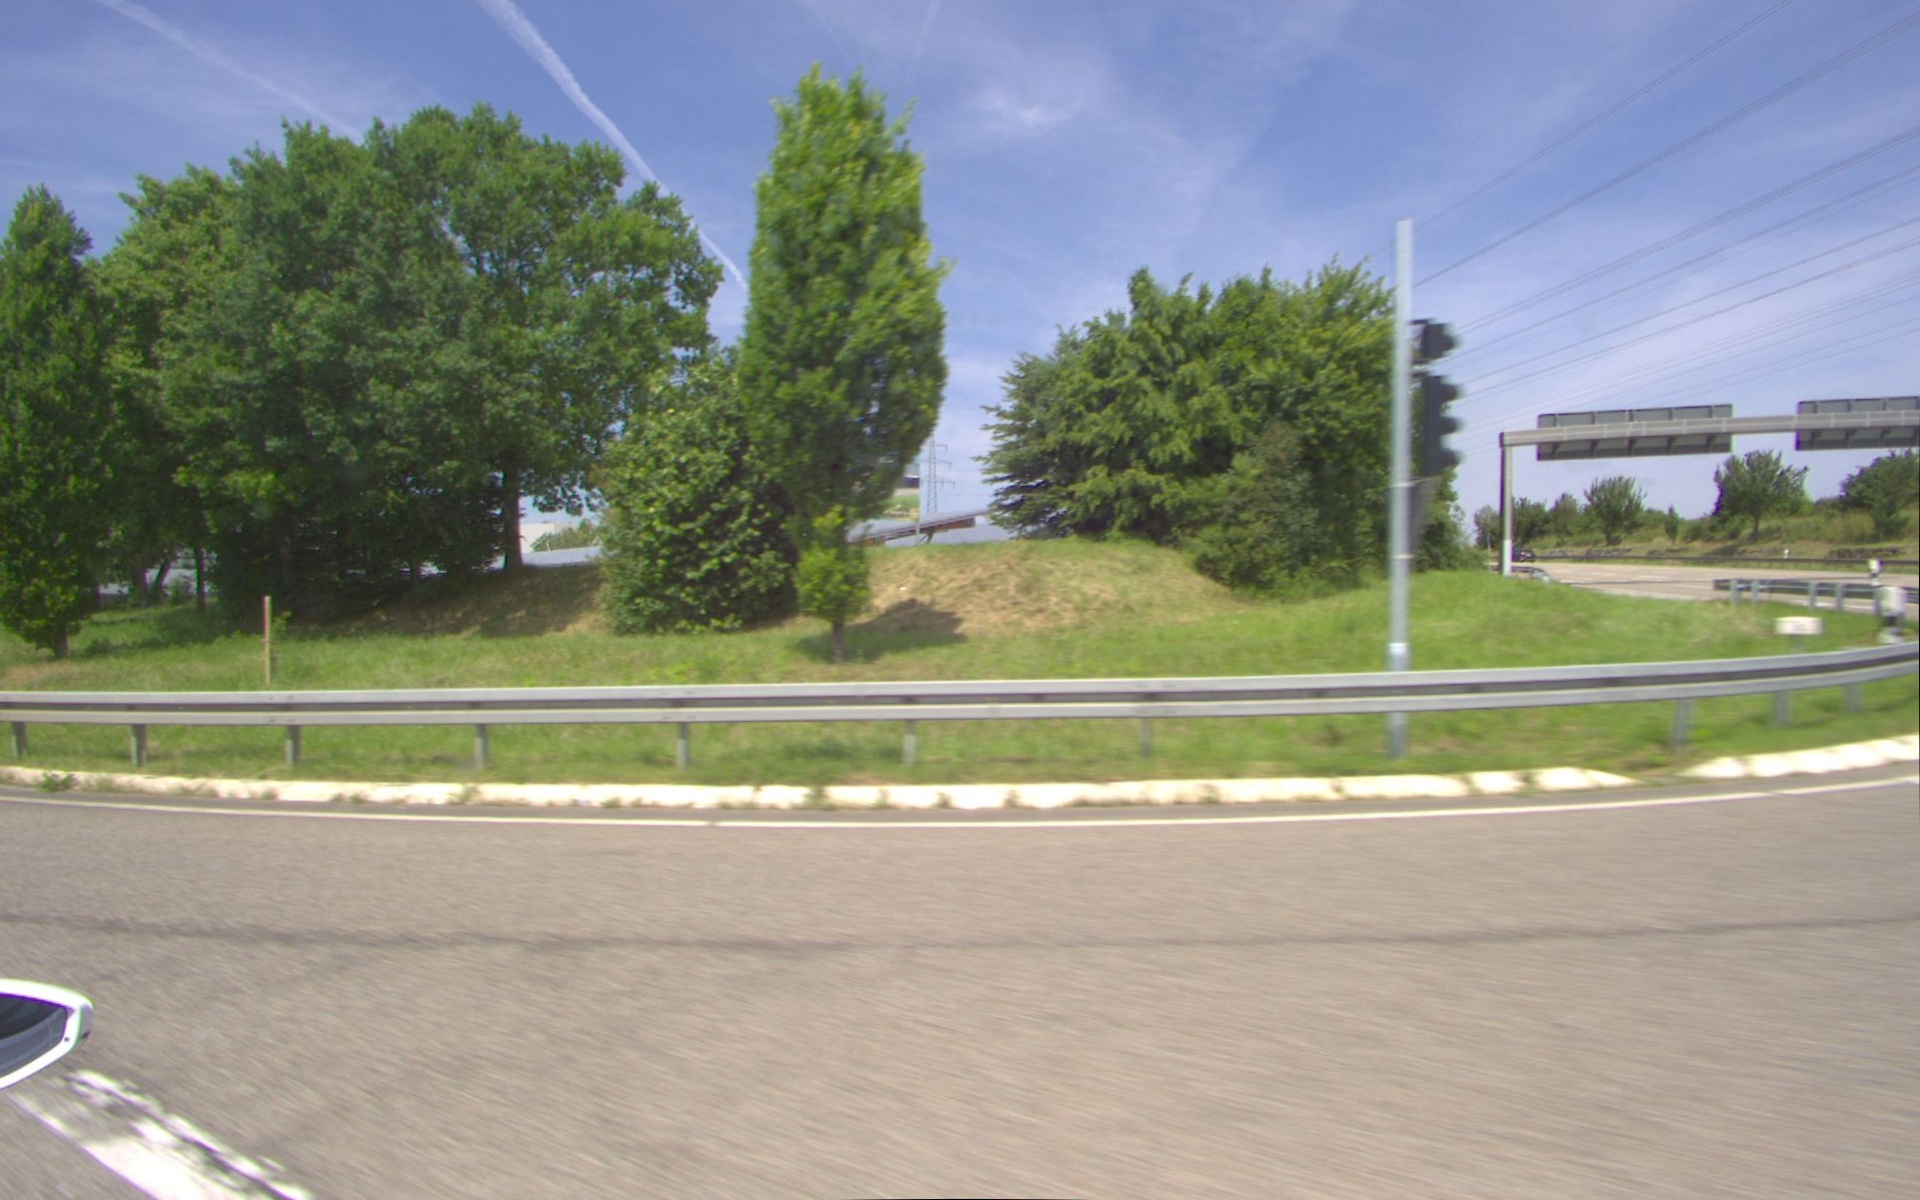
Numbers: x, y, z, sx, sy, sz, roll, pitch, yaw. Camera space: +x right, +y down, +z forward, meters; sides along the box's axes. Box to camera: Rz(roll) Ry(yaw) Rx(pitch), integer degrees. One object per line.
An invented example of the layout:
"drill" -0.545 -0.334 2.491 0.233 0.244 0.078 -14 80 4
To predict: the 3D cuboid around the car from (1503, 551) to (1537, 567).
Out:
"car" 57.384 -4.180 102.636 1.718 1.554 4.292 2 3 12
